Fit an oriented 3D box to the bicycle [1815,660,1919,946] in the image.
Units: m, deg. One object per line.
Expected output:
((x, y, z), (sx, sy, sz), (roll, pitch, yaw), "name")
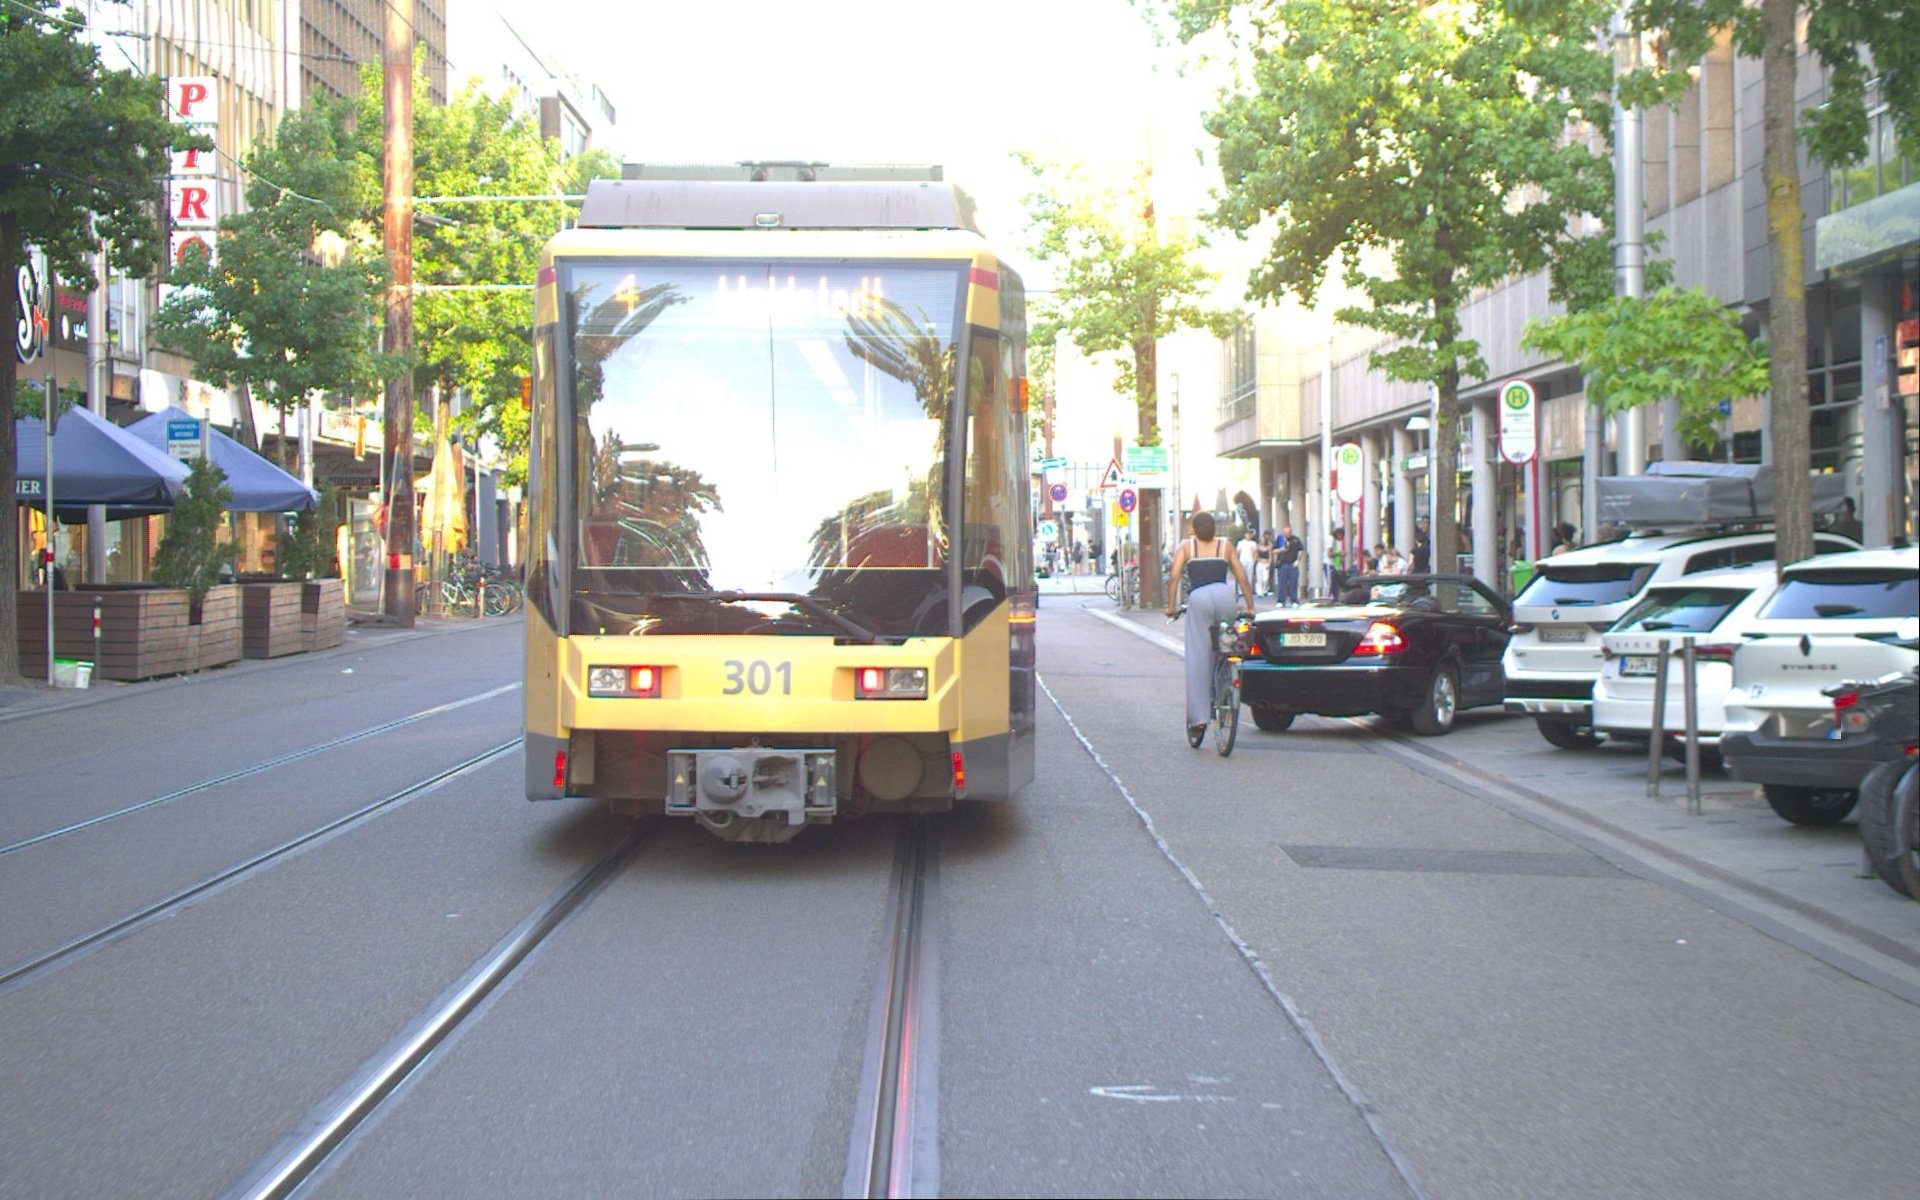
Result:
((4.508, 0.805, 14.386), (1.744, 1.113, 0.807), (-2, 2, -32), "bicycle")

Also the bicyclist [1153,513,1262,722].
((1.849, 0.128, 25.781), (0.726, 1.521, 0.733), (2, 0, 0), "bicyclist")

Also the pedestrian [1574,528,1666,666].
((7.742, -0.041, 40.356), (0.877, 1.576, 0.755), (1, 2, -1), "pedestrian")

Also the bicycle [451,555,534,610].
((-10.325, -0.386, 76.012), (1.733, 1.122, 0.563), (3, 0, -4), "bicycle")

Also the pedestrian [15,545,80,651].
((-11.074, -0.030, 41.725), (0.559, 1.252, 0.606), (3, 0, 0), "pedestrian")

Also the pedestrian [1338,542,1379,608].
((8.321, -0.526, 71.873), (0.739, 1.323, 0.720), (-2, 2, 0), "pedestrian")

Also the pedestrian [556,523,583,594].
((-9.358, -0.994, 82.408), (0.551, 1.681, 0.576), (2, 0, -4), "pedestrian")

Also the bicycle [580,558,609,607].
((-8.712, -0.416, 82.053), (0.611, 1.122, 2.252), (3, 0, -6), "bicycle")

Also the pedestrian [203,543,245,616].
((-13.591, -0.373, 63.472), (0.574, 1.315, 0.725), (2, 0, 0), "pedestrian")

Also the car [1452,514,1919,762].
((6.066, 0.233, 26.463), (4.194, 1.632, 1.921), (-4, 2, -32), "car")

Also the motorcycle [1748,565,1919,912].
((4.652, 0.583, 16.079), (2.199, 1.466, 0.795), (-3, 3, -44), "motorcycle")

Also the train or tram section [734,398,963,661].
((-1.618, -1.021, 51.845), (3.044, 3.511, 10.531), (1, 1, -1), "train or tram section")

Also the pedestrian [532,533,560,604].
((-10.011, -0.759, 83.127), (0.573, 1.681, 0.553), (2, 0, -10), "pedestrian")

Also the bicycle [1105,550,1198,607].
((4.986, -0.550, 89.611), (2.328, 1.466, 0.791), (0, 0, -4), "bicycle")

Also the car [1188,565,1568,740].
((3.740, 0.399, 30.060), (1.804, 1.344, 4.439), (0, 2, 28), "car")

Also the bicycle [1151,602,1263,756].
((1.829, 0.565, 25.687), (0.656, 1.057, 2.057), (1, 1, 0), "bicycle")

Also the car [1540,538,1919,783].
((6.331, 0.336, 23.768), (4.170, 1.453, 1.864), (-3, 1, -23), "car")

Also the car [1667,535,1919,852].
((6.204, 0.384, 19.082), (4.330, 1.557, 1.877), (-4, 1, -33), "car")

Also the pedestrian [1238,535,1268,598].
((7.953, -0.917, 93.468), (0.701, 1.678, 0.680), (-2, 2, 0), "pedestrian")

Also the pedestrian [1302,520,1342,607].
((7.535, -0.757, 71.602), (0.749, 1.776, 0.891), (0, 0, 3), "pedestrian")

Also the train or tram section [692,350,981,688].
((-1.398, -0.914, 41.152), (3.003, 3.511, 10.846), (0, 1, -1), "train or tram section")

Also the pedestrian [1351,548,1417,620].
((8.167, -0.314, 66.275), (1.112, 1.323, 0.926), (-2, 1, 0), "pedestrian")

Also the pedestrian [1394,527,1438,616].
((8.610, -0.539, 64.885), (0.701, 1.632, 0.646), (-2, 2, 0), "pedestrian")

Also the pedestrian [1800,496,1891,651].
((10.667, -0.332, 41.440), (0.832, 1.830, 0.944), (-1, 2, 0), "pedestrian")

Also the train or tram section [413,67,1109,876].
((-0.970, -0.614, 20.146), (3.016, 3.511, 10.371), (0, 1, -1), "train or tram section")

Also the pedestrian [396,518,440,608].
((-12.121, -0.823, 76.914), (0.849, 2.007, 0.921), (0, 0, 0), "pedestrian")

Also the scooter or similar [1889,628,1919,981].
((4.179, 0.758, 12.498), (0.695, 1.300, 1.393), (-2, 2, -39), "scooter or similar")

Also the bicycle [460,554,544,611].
((-9.797, -0.373, 73.580), (1.733, 1.122, 0.613), (3, 0, -7), "bicycle")

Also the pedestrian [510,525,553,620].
((-8.595, -0.552, 68.964), (0.750, 1.873, 0.576), (2, 0, -4), "pedestrian")

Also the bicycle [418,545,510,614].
((-10.352, -0.435, 71.788), (1.796, 1.355, 0.660), (3, 0, -12), "bicycle")

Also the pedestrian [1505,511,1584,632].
((9.306, -0.468, 54.780), (1.053, 1.870, 0.929), (-2, 2, 0), "pedestrian")

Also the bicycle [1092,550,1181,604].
((4.816, -0.627, 93.702), (2.328, 1.466, 0.791), (0, 0, -4), "bicycle")

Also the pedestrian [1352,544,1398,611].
((8.453, -0.457, 70.043), (0.806, 1.323, 0.626), (-2, 2, 0), "pedestrian")

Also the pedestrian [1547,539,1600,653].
((8.909, -0.069, 49.932), (0.596, 1.610, 0.755), (-2, 2, 0), "pedestrian")

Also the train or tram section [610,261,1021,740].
((-1.171, -0.801, 30.530), (3.007, 3.511, 10.403), (0, 1, -1), "train or tram section")

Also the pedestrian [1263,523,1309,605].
((7.099, -0.775, 74.807), (0.888, 1.776, 0.752), (0, 0, -2), "pedestrian")
